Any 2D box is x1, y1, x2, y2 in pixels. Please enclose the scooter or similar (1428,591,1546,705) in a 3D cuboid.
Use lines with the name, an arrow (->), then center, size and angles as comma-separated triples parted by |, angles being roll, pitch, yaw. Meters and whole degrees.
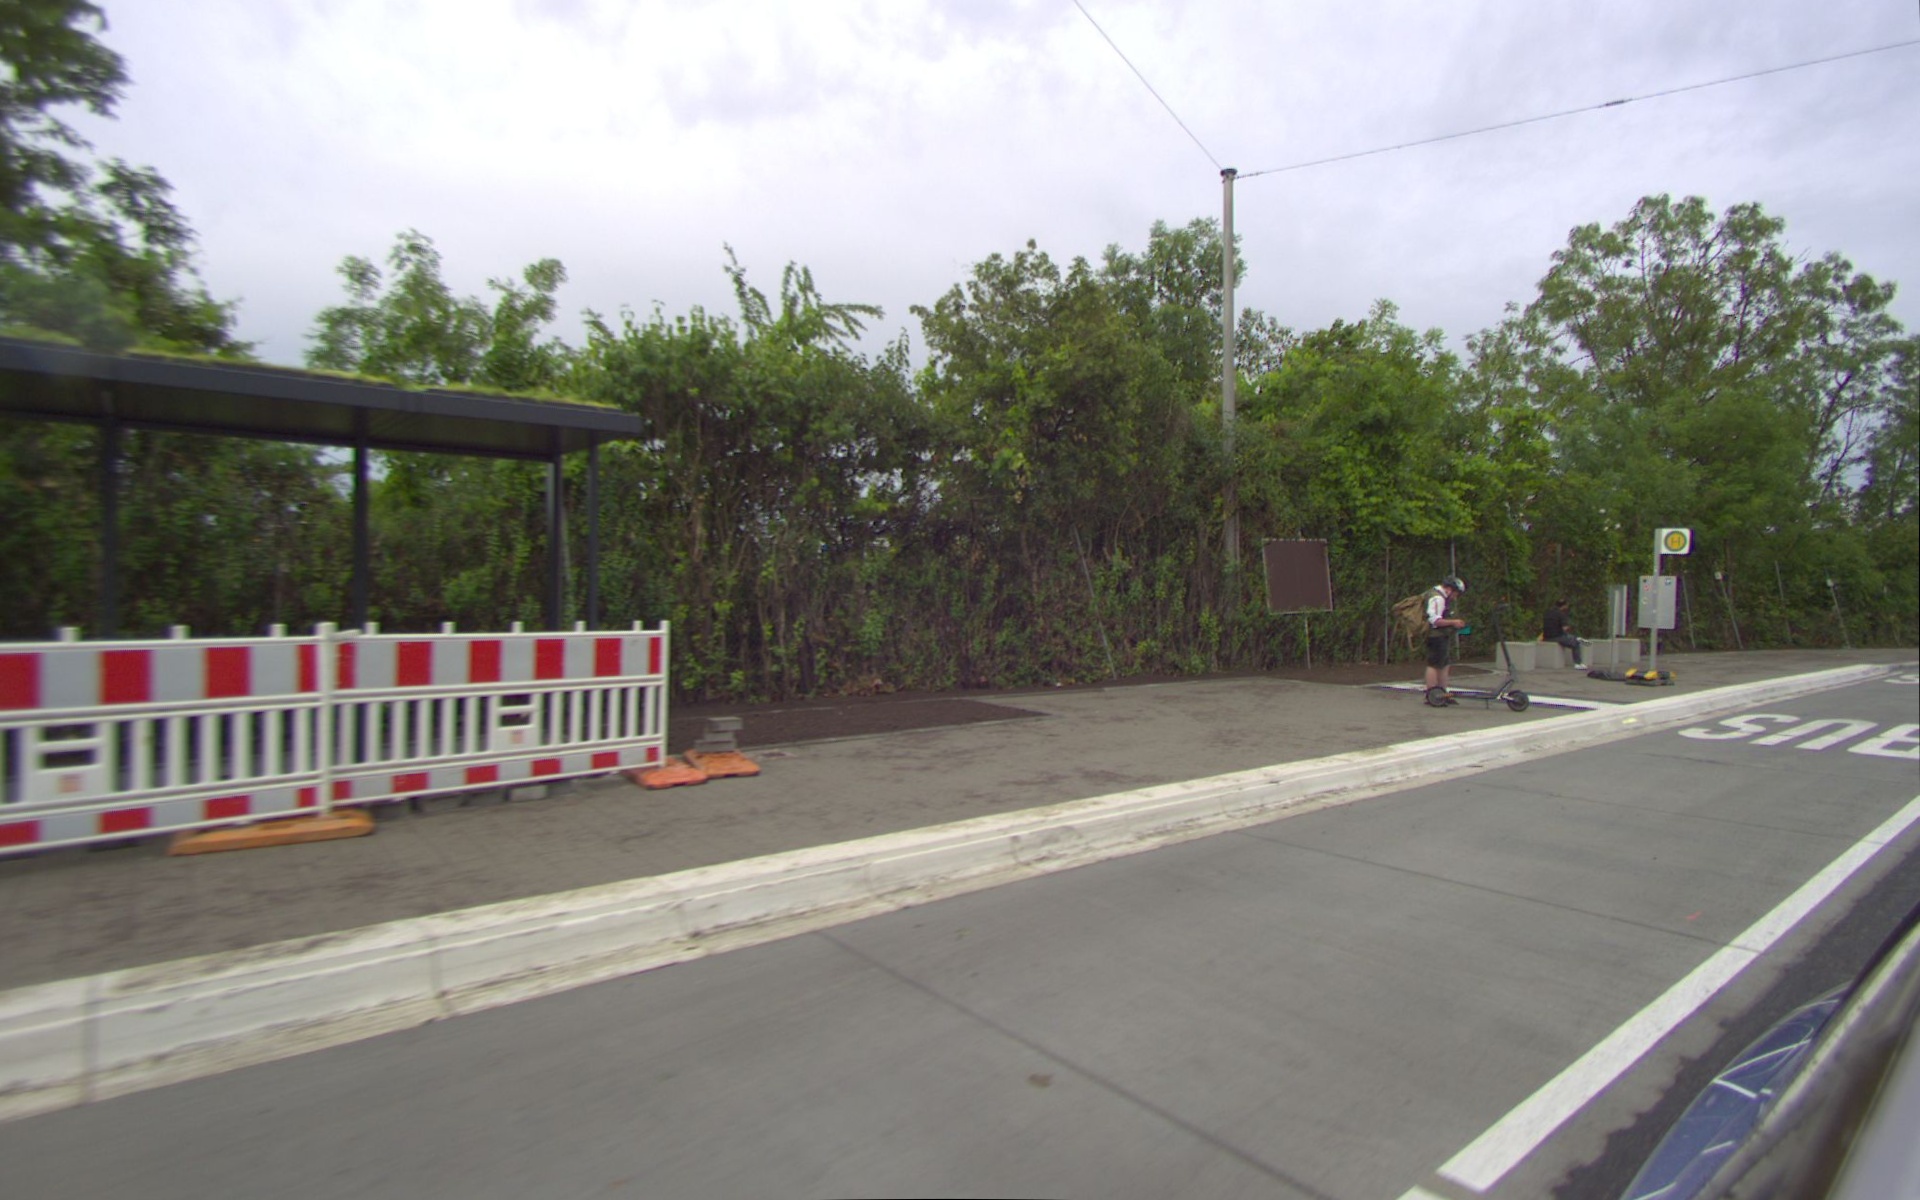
scooter or similar -> 6.346, 0.562, 12.213 | 1.224, 1.332, 0.231 | 1, 0, 12

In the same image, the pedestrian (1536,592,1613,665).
pedestrian -> 11.802, 0.523, 19.482 | 1.052, 1.346, 0.806 | 1, 1, 15

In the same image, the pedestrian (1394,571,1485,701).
pedestrian -> 5.937, 0.428, 12.570 | 0.907, 1.566, 0.542 | 1, 1, 15
